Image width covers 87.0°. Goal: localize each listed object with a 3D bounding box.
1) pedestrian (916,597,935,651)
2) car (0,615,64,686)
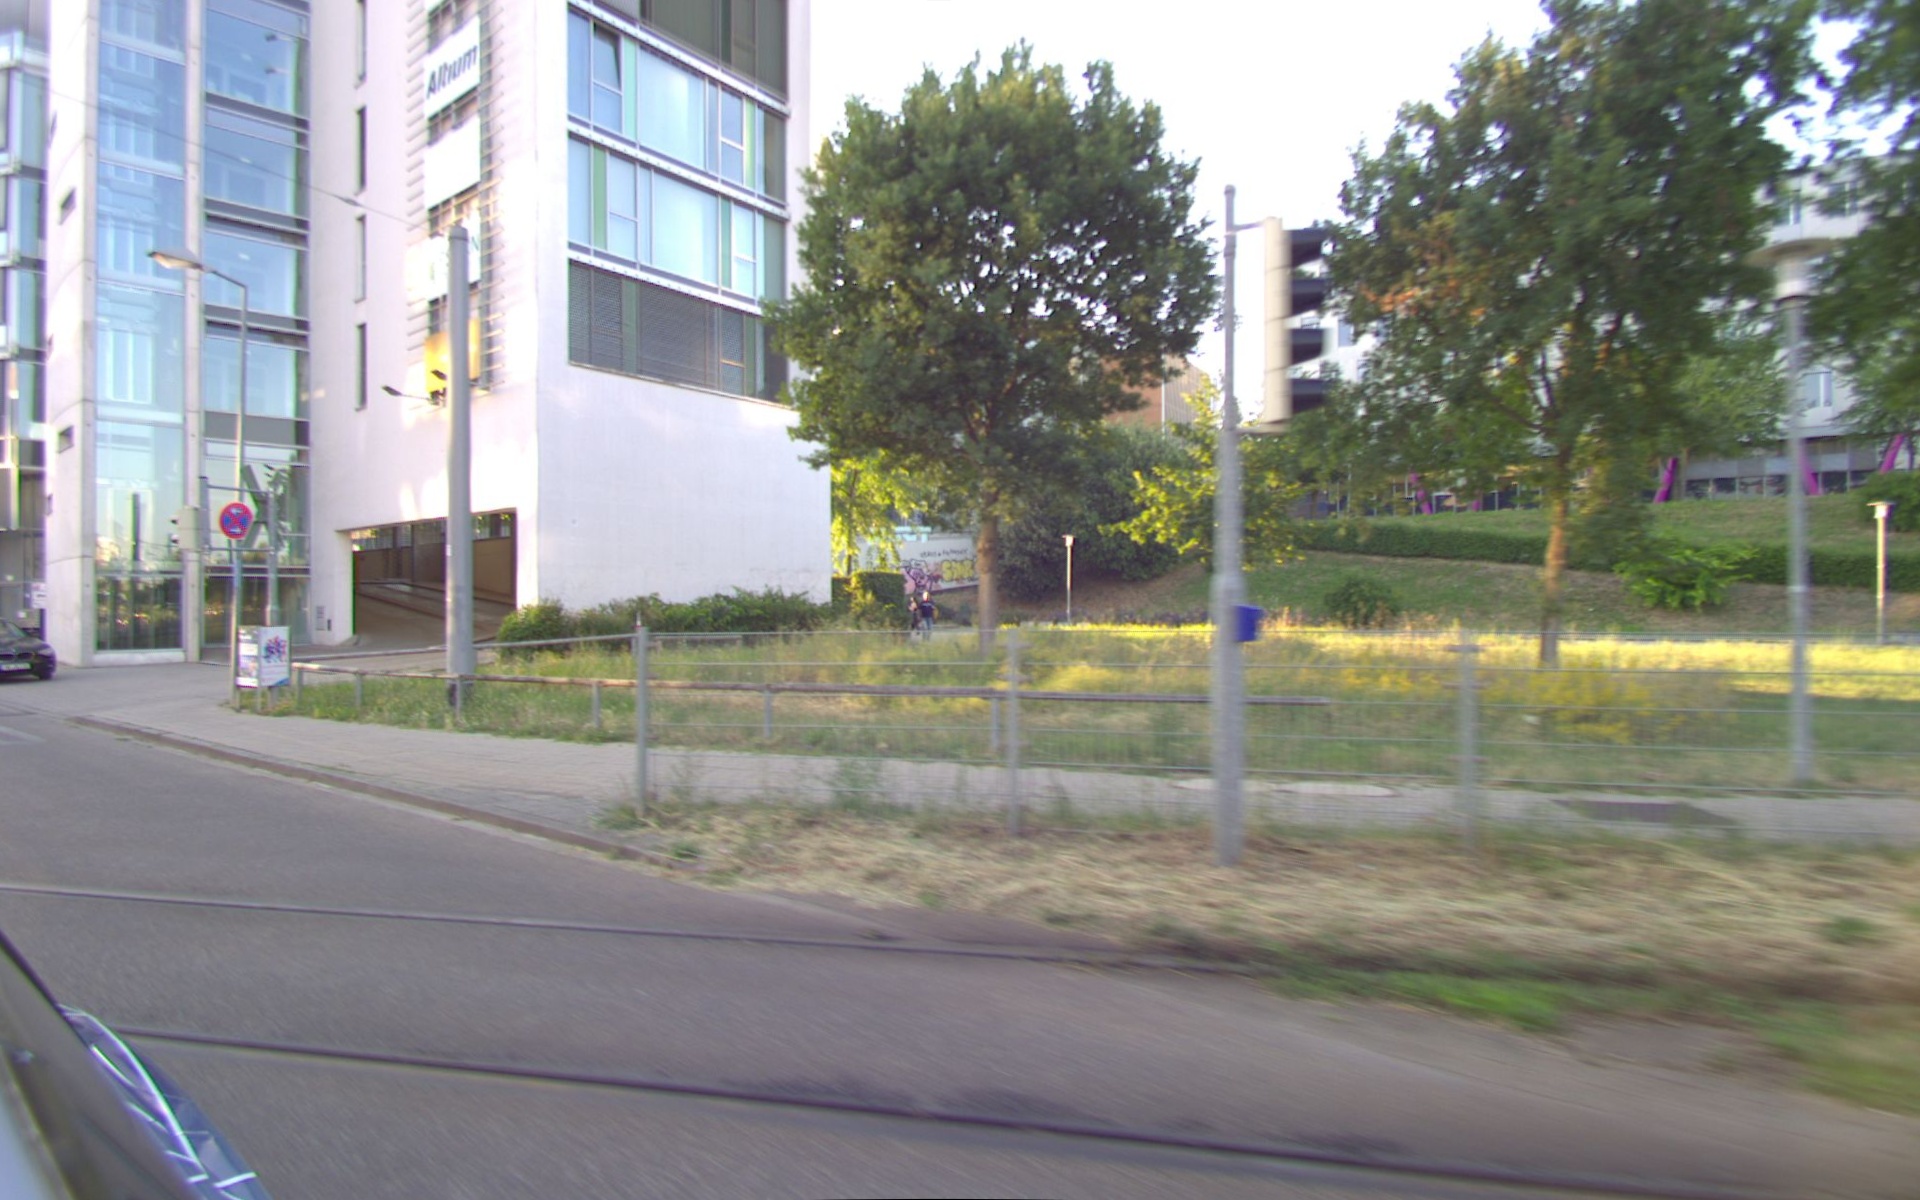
[{"bbox_3d":[-1.179,0.820,34.713,0.479,1.850,0.447,-1,0,18],"label":"pedestrian"},{"bbox_3d":[-21.929,1.129,22.412,4.210,1.453,1.840,-1,1,30],"label":"car"}]
